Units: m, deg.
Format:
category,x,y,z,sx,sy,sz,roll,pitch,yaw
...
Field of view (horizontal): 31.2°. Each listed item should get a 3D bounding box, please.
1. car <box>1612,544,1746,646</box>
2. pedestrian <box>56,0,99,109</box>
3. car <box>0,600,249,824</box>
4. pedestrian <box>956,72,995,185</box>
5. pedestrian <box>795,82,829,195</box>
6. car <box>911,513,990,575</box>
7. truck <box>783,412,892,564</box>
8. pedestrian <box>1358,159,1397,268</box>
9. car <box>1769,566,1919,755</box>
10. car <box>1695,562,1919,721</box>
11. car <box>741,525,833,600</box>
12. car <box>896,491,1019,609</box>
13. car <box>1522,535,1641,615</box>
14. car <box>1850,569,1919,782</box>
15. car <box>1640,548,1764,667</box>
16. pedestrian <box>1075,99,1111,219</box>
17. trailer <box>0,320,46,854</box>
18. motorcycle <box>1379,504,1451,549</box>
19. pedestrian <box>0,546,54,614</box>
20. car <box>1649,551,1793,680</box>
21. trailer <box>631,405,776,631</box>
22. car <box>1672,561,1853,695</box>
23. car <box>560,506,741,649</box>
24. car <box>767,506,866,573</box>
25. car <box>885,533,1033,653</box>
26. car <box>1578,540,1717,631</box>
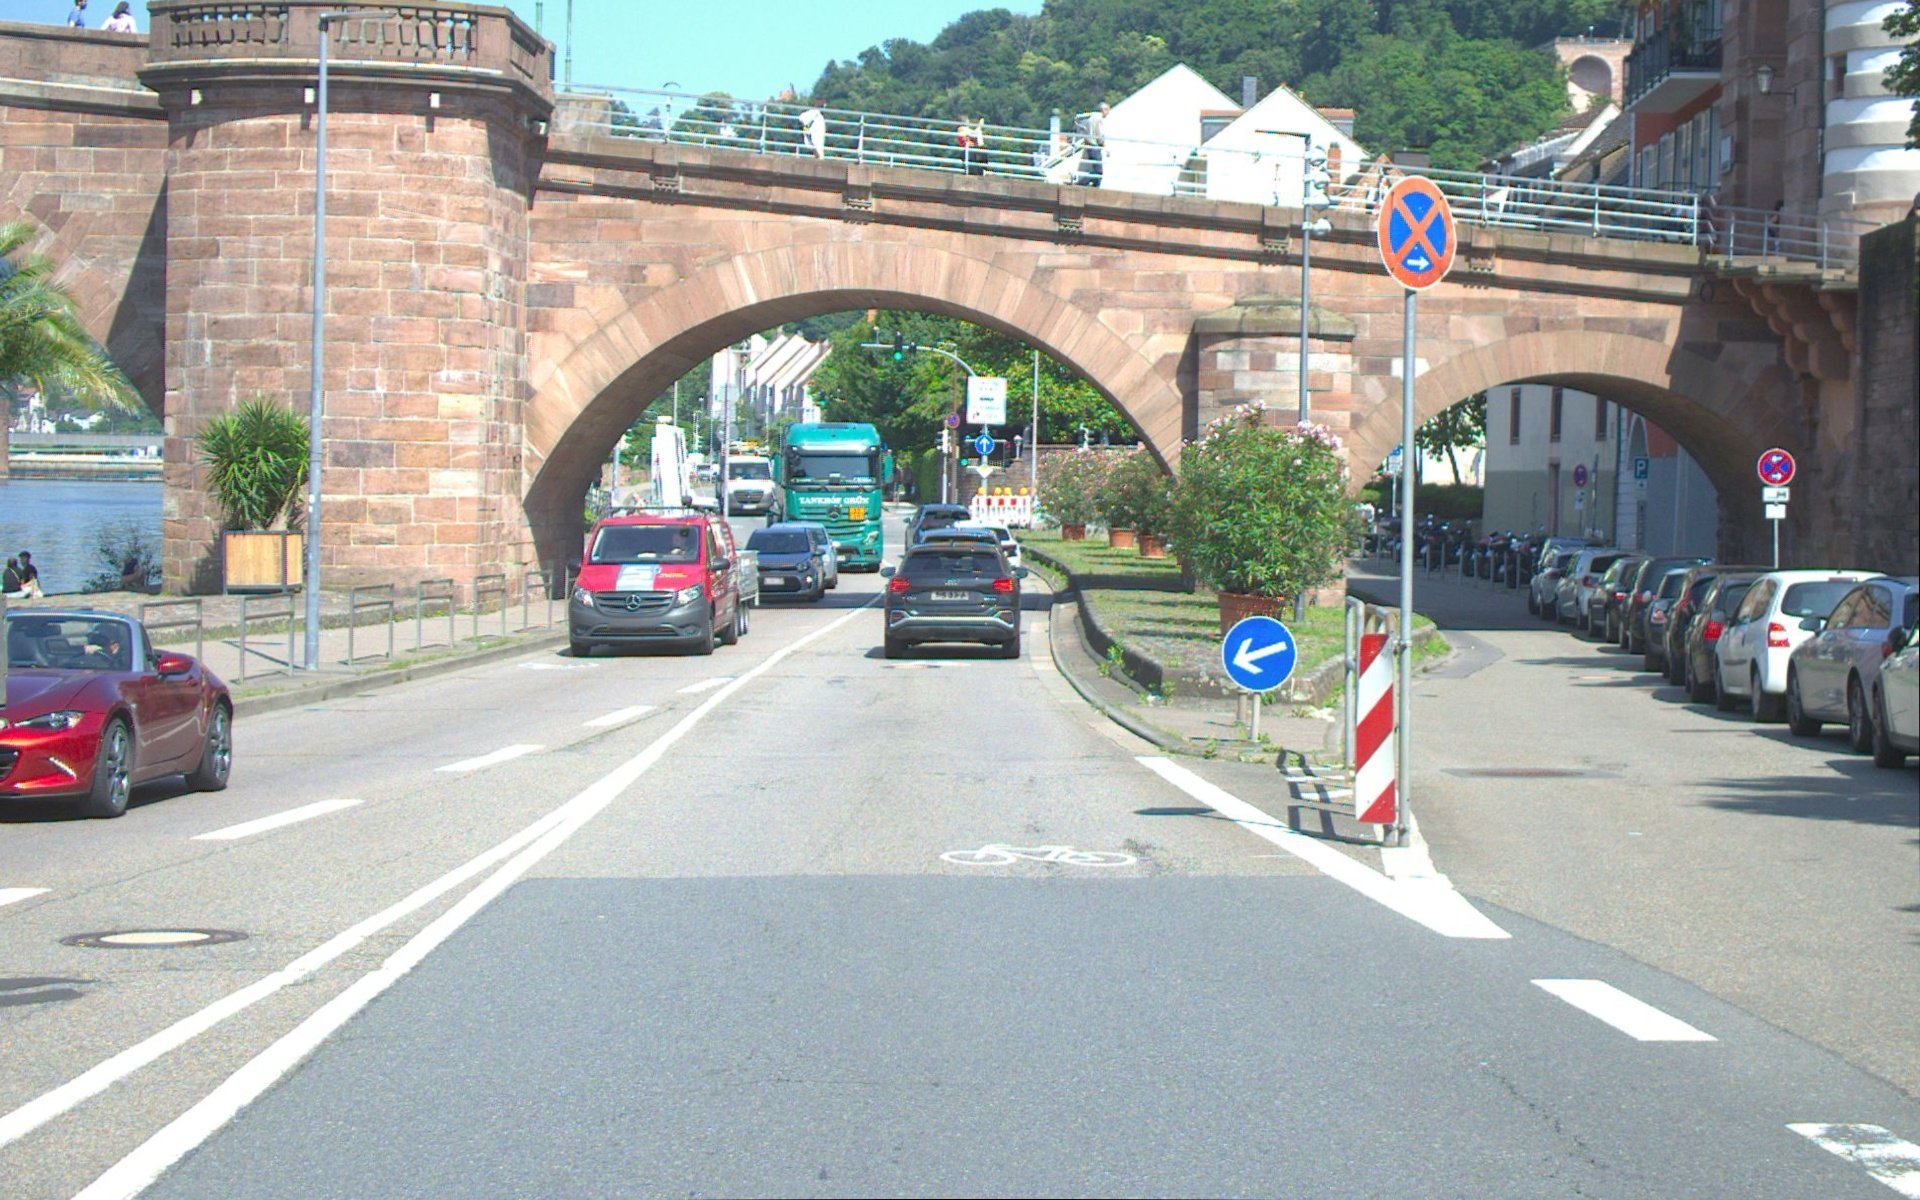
category,x,y,z,sx,sy,sz,roll,pitch,yaw
car,11.290,-0.114,54.171,1.776,1.497,3.985,0,2,8
pedestrian,-15.623,-9.754,60.868,0.623,2.007,0.695,0,1,-5
car,-5.677,0.643,21.269,1.671,1.190,3.629,-1,1,2
pedestrian,0.283,-8.649,63.054,0.684,2.007,0.586,0,1,2
pedestrian,-2.715,-8.456,63.047,0.581,2.007,0.586,0,1,2
car,-0.281,-1.583,96.612,1.993,1.656,4.001,1,1,-3
truck,-3.105,-2.936,88.251,2.523,3.735,6.247,-1,3,0
pedestrian,7.895,-7.301,65.043,0.684,2.007,0.586,0,1,2
car,8.198,0.465,29.279,1.754,1.427,4.756,1,1,4
car,8.503,0.374,34.251,1.711,1.452,3.547,1,1,3
car,-3.463,-0.774,69.222,1.535,1.432,3.728,-1,2,2
car,-0.012,-0.907,60.887,1.994,2.007,4.000,0,1,3
car,12.445,-0.529,69.096,1.893,1.487,4.416,0,2,4
car,7.482,0.517,24.602,1.612,1.408,3.902,1,1,7
car,10.288,0.069,47.842,1.592,1.515,3.901,1,2,11
pedestrian,2.323,-7.700,60.079,0.623,2.007,0.695,0,1,2
trailer,-6.105,-0.014,13.452,2.698,2.522,6.946,-1,1,5
motorcycle,12.949,-2.091,97.859,2.191,1.262,0.628,-1,3,-36
pedestrian,-17.380,-0.376,63.820,0.726,1.236,1.145,1,1,5
car,9.508,0.159,43.129,1.495,1.479,3.715,1,2,9
trailer,-3.886,-1.253,52.483,1.742,3.309,3.384,-1,1,3
car,8.903,0.277,38.399,1.711,1.383,4.406,0,1,10
car,-4.191,-0.353,47.216,1.874,1.821,4.544,-1,2,2
car,-3.205,-1.356,77.487,1.723,1.432,4.400,-1,1,4
car,0.030,-0.127,45.955,1.857,1.518,4.000,0,1,2
car,11.826,-0.282,59.371,1.776,1.432,4.492,1,2,4
